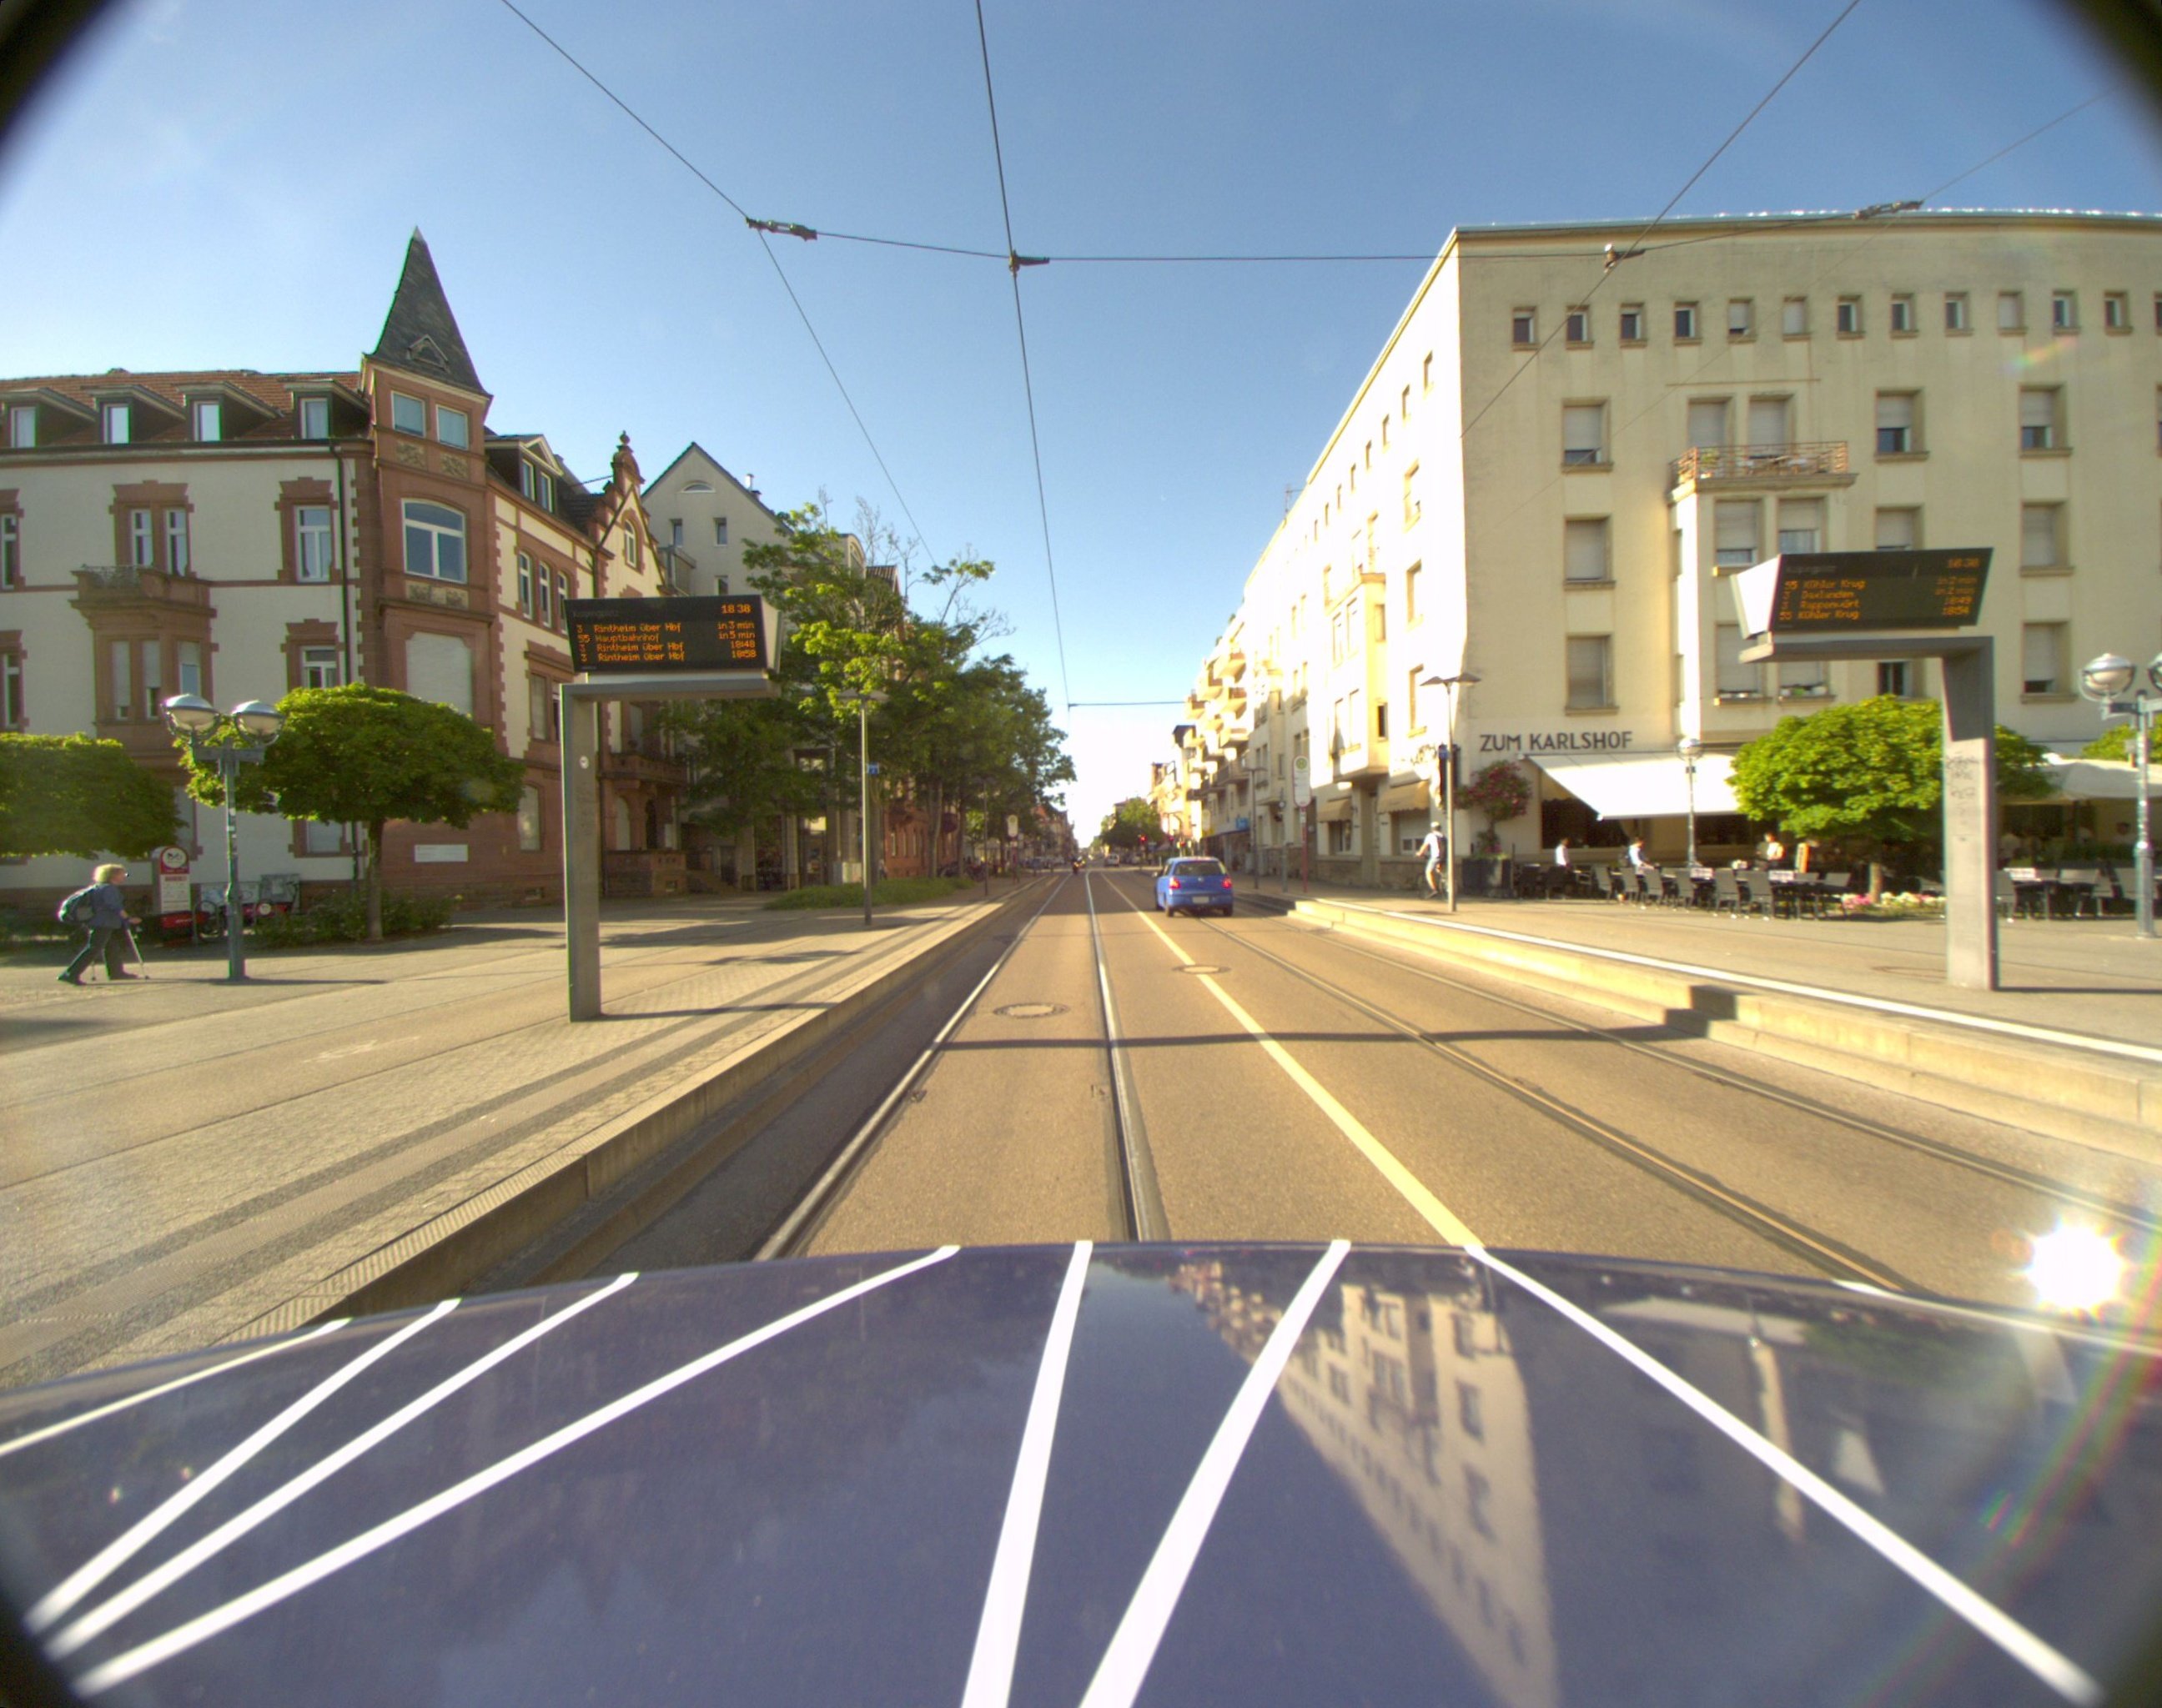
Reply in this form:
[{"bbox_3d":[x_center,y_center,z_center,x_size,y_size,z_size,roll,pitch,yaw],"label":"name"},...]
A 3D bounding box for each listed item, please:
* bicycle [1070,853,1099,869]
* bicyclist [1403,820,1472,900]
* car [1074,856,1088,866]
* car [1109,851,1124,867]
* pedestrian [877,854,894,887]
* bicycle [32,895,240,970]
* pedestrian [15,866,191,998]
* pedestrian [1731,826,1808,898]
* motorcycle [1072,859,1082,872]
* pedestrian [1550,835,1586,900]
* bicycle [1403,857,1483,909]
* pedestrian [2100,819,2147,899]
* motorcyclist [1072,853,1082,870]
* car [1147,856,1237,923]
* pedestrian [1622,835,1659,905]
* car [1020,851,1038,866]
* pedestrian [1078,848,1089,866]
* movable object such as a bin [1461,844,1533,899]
[{"bbox_3d":[0.365,0.792,86.644,3.108,1.719,1.227,-1,1,-14],"label":"bicycle"},{"bbox_3d":[8.344,0.135,17.817,1.007,1.783,1.094,-2,1,-8],"label":"bicyclist"},{"bbox_3d":[0.024,0.996,107.763,1.998,1.318,3.863,-1,0,1],"label":"car"},{"bbox_3d":[4.919,0.648,105.514,1.877,2.105,4.000,-2,1,2],"label":"car"},{"bbox_3d":[-10.571,0.888,41.110,0.742,1.725,0.877,-2,1,-6],"label":"pedestrian"},{"bbox_3d":[-18.174,1.457,14.776,0.790,1.062,2.804,-2,2,-8],"label":"bicycle"},{"bbox_3d":[-13.327,1.020,10.409,1.070,1.659,0.956,-2,1,-12],"label":"pedestrian"},{"bbox_3d":[15.973,0.200,17.644,1.066,1.634,0.757,0,-2,-4],"label":"pedestrian"},{"bbox_3d":[-0.310,0.988,64.849,0.799,1.090,2.429,-1,0,1],"label":"motorcycle"},{"bbox_3d":[12.620,0.370,19.700,0.672,1.634,0.752,-1,-2,27],"label":"pedestrian"},{"bbox_3d":[8.413,0.633,17.773,0.714,1.119,2.034,-2,0,-6],"label":"bicycle"},{"bbox_3d":[24.393,0.115,17.782,0.578,1.813,0.647,-2,1,-36],"label":"pedestrian"},{"bbox_3d":[-0.315,0.633,64.731,0.821,1.466,1.114,-1,1,1],"label":"motorcyclist"},{"bbox_3d":[2.756,0.824,19.696,1.671,1.479,3.999,-2,0,0],"label":"car"},{"bbox_3d":[13.347,0.389,18.132,0.672,1.634,0.678,-2,-3,37],"label":"pedestrian"},{"bbox_3d":[-7.226,0.640,106.013,1.998,2.002,4.001,-1,0,4],"label":"car"},{"bbox_3d":[0.281,0.334,86.731,1.022,2.002,1.176,-2,1,-12],"label":"pedestrian"},{"bbox_3d":[11.166,0.458,20.443,1.319,1.392,1.128,-1,1,-1],"label":"movable object such as a bin"}]
